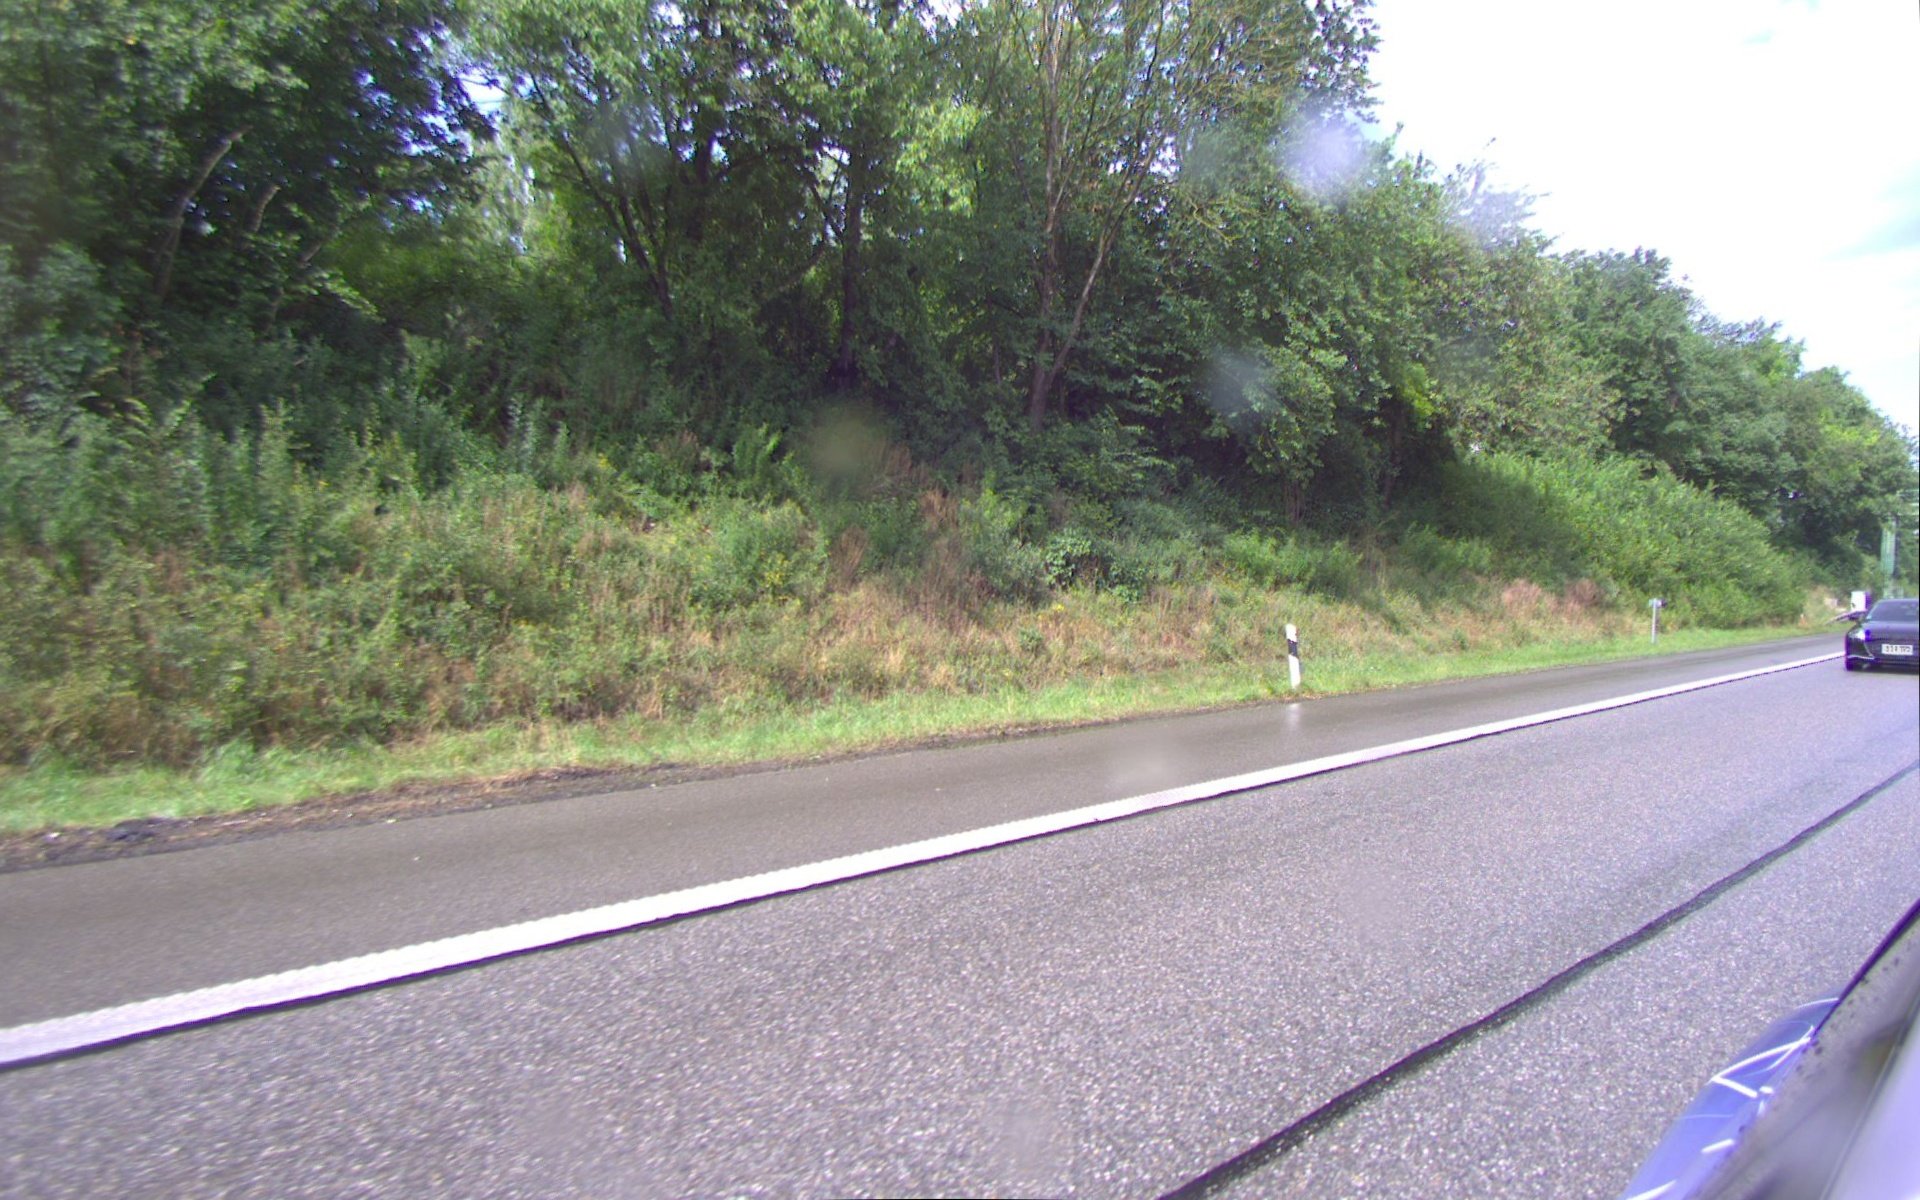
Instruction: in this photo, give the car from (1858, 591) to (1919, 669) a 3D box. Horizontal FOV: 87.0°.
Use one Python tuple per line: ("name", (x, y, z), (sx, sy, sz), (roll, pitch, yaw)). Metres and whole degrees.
("car", (19.253, 0.540, 19.994), (4.293, 1.414, 1.758), (-1, 1, -42))
